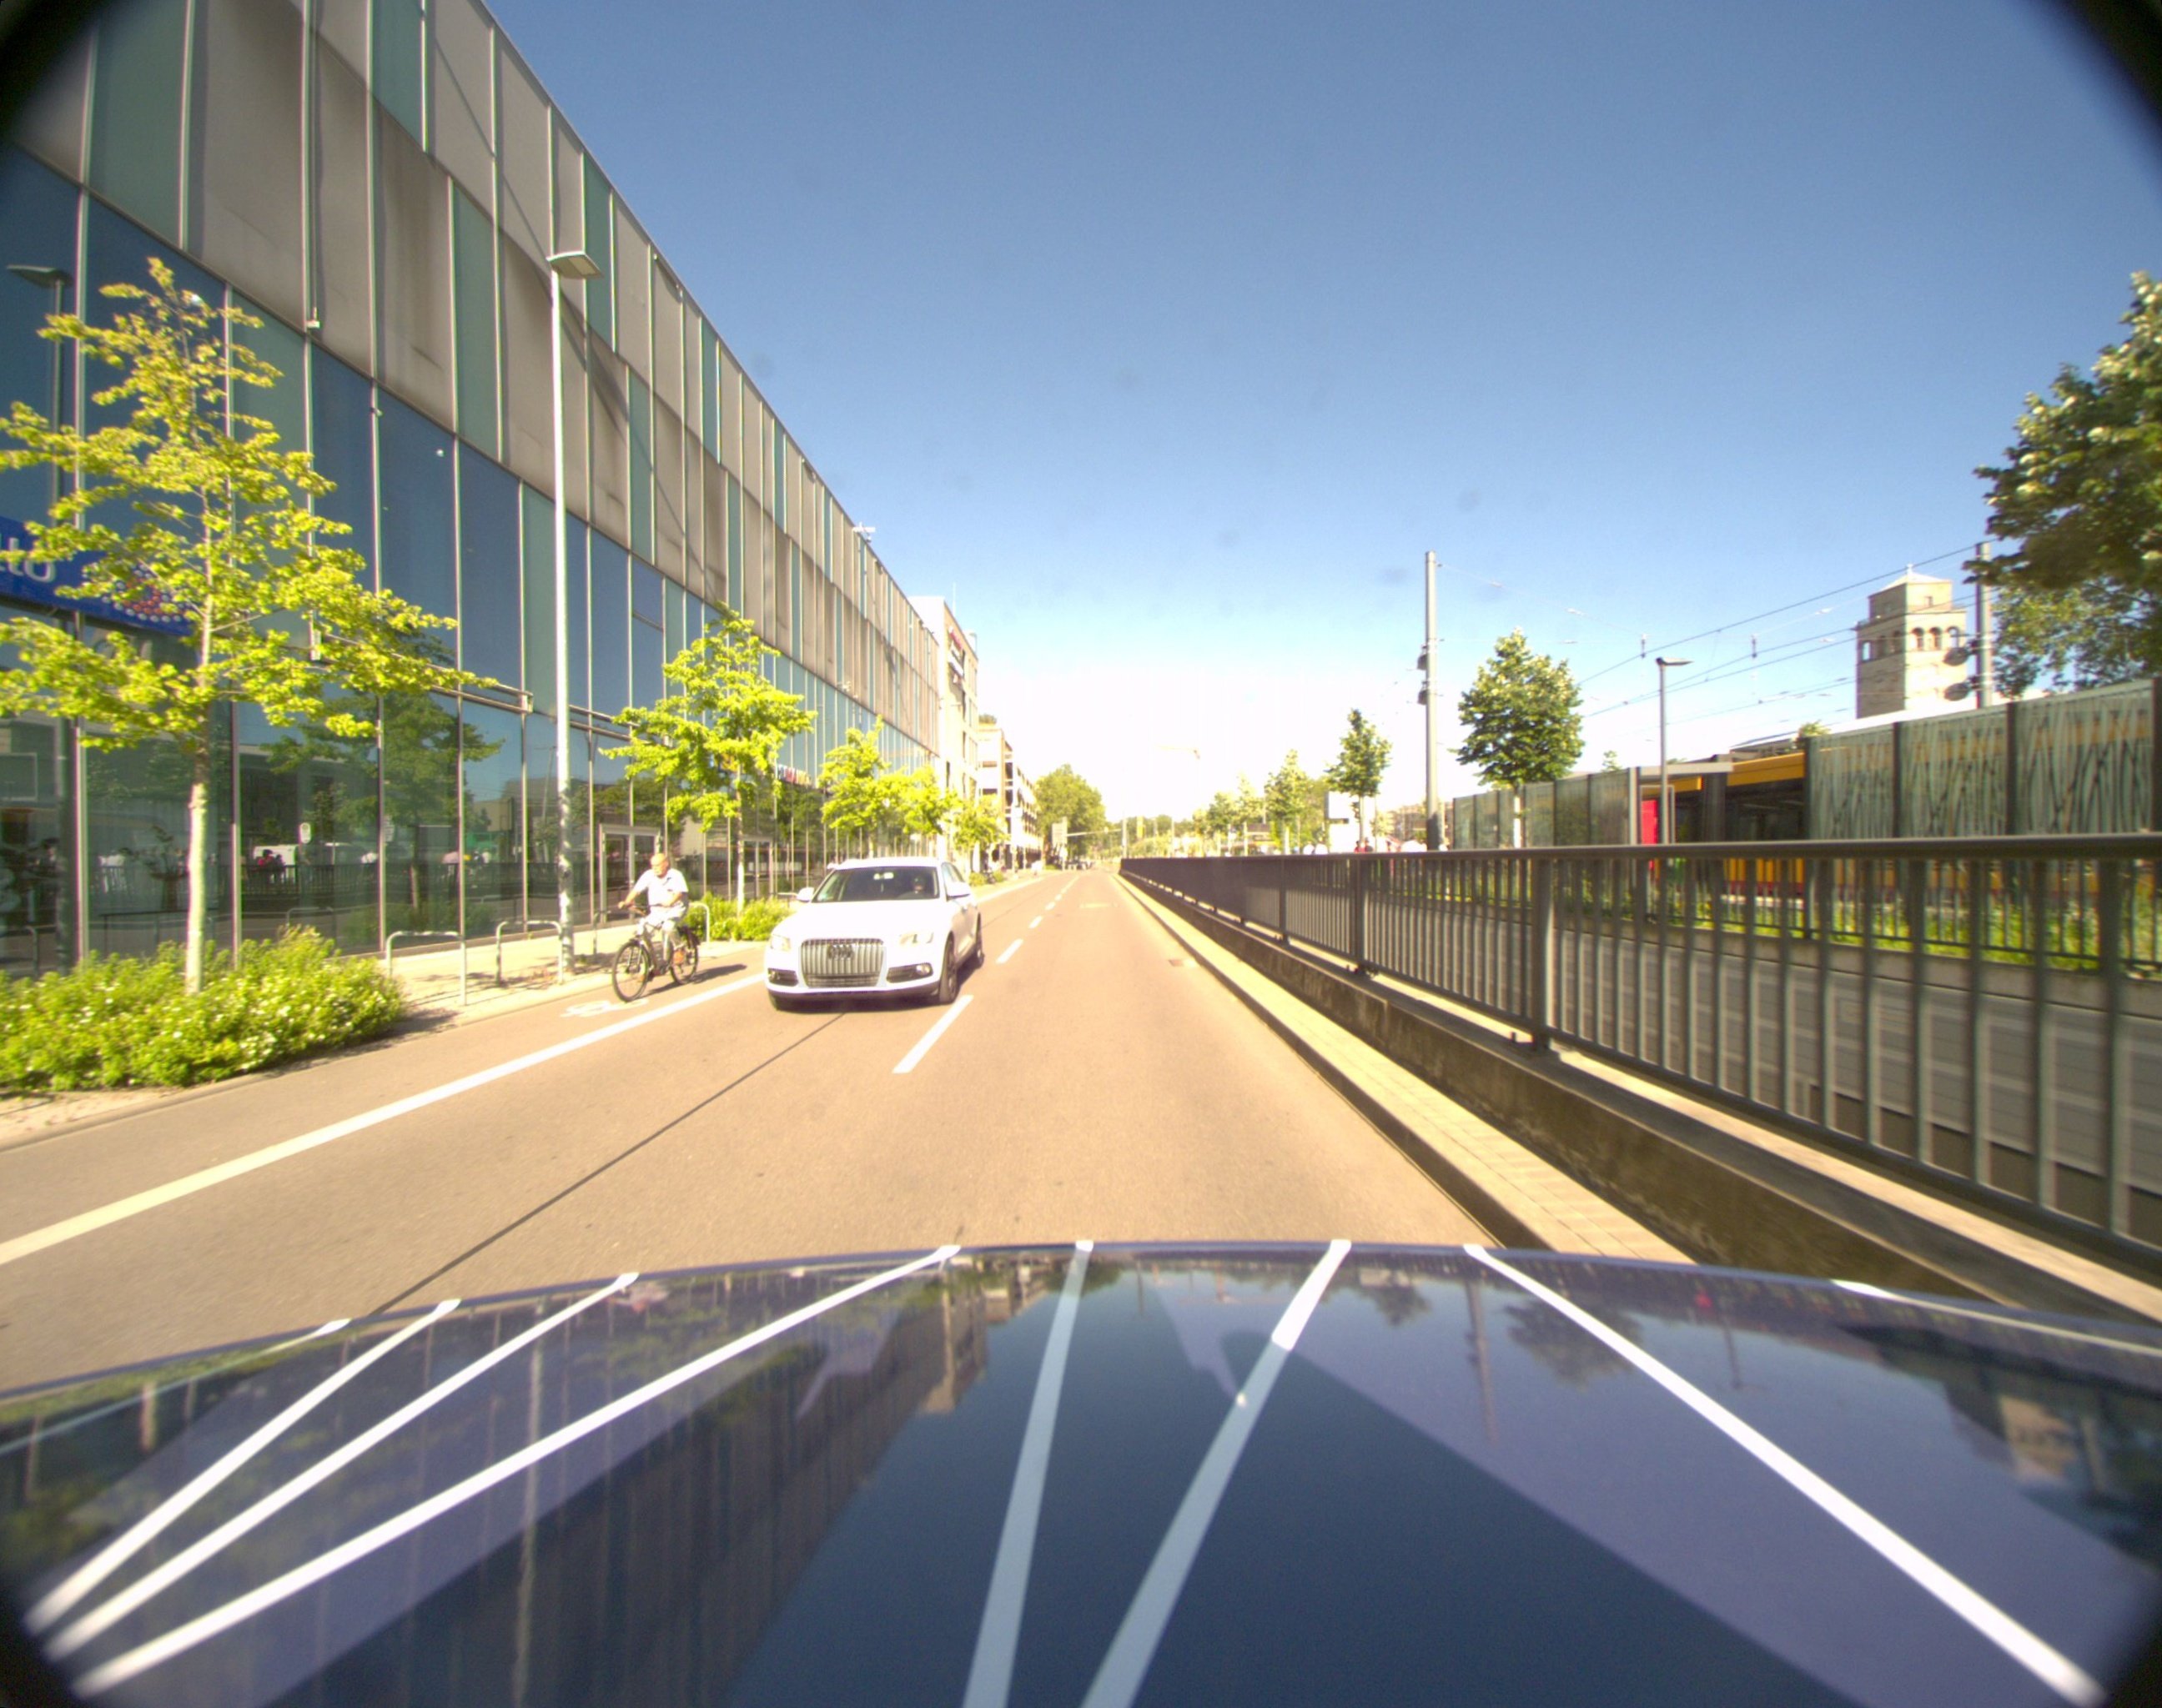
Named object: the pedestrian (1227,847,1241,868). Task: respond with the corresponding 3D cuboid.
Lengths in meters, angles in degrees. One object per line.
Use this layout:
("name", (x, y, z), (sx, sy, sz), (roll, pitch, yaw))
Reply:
("pedestrian", (13.164, 0.272, 65.225), (0.876, 1.764, 1.189), (-2, -1, -1))

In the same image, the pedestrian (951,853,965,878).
("pedestrian", (-9.016, 0.841, 55.672), (0.729, 1.791, 1.066), (1, 0, 1))

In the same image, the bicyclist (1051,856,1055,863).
("bicyclist", (-5.935, 1.113, 161.330), (0.883, 1.468, 0.883), (0, 0, 1))

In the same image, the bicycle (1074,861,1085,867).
("bicycle", (-0.272, 1.777, 138.161), (1.848, 0.954, 0.711), (1, 0, -3))

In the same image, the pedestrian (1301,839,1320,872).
("pedestrian", (12.893, 0.083, 42.683), (0.771, 1.800, 1.031), (0, 0, 1))

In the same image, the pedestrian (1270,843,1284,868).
("pedestrian", (14.078, 0.098, 54.585), (0.763, 1.764, 0.826), (-2, 0, -2))

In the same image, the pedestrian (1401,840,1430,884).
("pedestrian", (12.479, 0.307, 28.354), (0.743, 1.619, 0.861), (-1, 0, 2))

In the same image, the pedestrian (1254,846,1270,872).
("pedestrian", (12.588, 0.384, 52.732), (0.793, 1.764, 0.979), (-2, 0, -1))

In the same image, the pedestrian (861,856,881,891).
("pedestrian", (-10.108, 0.911, 36.536), (0.708, 1.648, 0.900), (1, 0, -3))

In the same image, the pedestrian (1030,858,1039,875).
("pedestrian", (-4.287, 1.161, 70.565), (0.725, 1.598, 0.750), (0, -1, 2))

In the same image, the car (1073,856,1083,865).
("car", (-0.602, 1.376, 158.766), (1.752, 1.810, 4.338), (1, 0, 2))

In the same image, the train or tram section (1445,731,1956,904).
("train or tram section", (15.716, -0.678, 22.411), (2.877, 3.260, 15.186), (-2, 0, 1))

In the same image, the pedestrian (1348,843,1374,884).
("pedestrian", (11.096, 0.365, 30.113), (0.743, 1.619, 0.861), (-1, 0, 2))

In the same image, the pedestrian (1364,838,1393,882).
("pedestrian", (11.115, 0.207, 28.415), (0.743, 1.619, 0.861), (-1, 0, 2))

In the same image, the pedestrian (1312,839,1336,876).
("pedestrian", (12.370, 0.177, 38.676), (0.889, 1.840, 1.007), (-1, 0, 1))

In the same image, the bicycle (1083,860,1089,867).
("bicycle", (0.826, 1.597, 124.676), (0.844, 1.123, 2.554), (-1, 0, 2))

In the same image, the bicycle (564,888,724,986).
("bicycle", (-5.365, 0.965, 9.549), (0.730, 0.978, 2.332), (0, 0, -2))

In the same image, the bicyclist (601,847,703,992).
("bicyclist", (-5.372, 0.785, 9.582), (0.727, 1.726, 0.997), (0, 0, -2))

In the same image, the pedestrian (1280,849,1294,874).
("pedestrian", (12.496, 0.438, 46.064), (0.649, 1.503, 0.588), (-2, 0, -2))

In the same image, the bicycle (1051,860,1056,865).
("bicycle", (-5.924, 1.834, 161.394), (0.883, 0.979, 2.051), (0, 0, 2))

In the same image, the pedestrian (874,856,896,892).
("pedestrian", (-9.289, 0.942, 36.088), (0.823, 1.648, 0.900), (-1, 0, -3))

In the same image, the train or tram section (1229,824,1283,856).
("train or tram section", (20.425, -1.534, 90.027), (2.855, 3.302, 15.966), (-4, 0, 1))

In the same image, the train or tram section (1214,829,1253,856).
("train or tram section", (20.769, -1.494, 104.535), (2.877, 3.290, 13.074), (-2, 0, 1))

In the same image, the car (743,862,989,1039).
("car", (-2.314, 0.940, 9.444), (1.824, 1.604, 4.412), (-1, 0, -1))

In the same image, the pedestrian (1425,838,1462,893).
("pedestrian", (10.958, 0.347, 22.987), (0.743, 1.619, 0.861), (-1, 0, 2))

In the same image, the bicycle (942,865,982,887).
("bicycle", (-6.939, 1.276, 44.282), (2.089, 1.198, 0.951), (1, 1, 8))

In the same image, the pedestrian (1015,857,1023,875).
("pedestrian", (-5.911, 1.146, 72.269), (0.658, 1.692, 0.698), (2, 0, 0))

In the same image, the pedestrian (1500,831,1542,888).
("pedestrian", (12.743, 0.154, 22.038), (0.743, 1.619, 0.861), (-1, 0, 2))

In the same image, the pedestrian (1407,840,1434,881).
("pedestrian", (13.564, 0.256, 30.375), (0.743, 1.619, 0.861), (-1, 0, 2))

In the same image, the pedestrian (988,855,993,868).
("pedestrian", (-11.041, 0.945, 92.637), (0.662, 1.603, 0.526), (1, 0, -7))

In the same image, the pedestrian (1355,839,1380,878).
("pedestrian", (12.176, 0.178, 32.322), (0.743, 1.619, 0.861), (-1, 0, 2))

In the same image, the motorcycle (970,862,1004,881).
("motorcycle", (-6.584, 1.226, 53.131), (2.193, 1.316, 0.903), (0, 0, 5))

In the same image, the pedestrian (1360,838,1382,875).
("pedestrian", (13.542, 0.113, 35.513), (0.743, 1.684, 0.861), (-1, 0, 2))

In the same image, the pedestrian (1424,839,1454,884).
("pedestrian", (13.328, 0.274, 28.320), (0.743, 1.619, 0.861), (-1, 0, 2))

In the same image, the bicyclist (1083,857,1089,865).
("bicyclist", (0.829, 1.141, 124.678), (0.830, 1.380, 0.904), (-1, 0, 2))

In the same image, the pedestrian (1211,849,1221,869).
("pedestrian", (12.079, 0.422, 68.041), (0.705, 1.764, 0.959), (-2, 0, -1))

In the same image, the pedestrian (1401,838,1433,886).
("pedestrian", (11.694, 0.269, 26.426), (0.743, 1.619, 0.861), (-1, 0, 2))

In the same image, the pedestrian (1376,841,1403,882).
("pedestrian", (12.390, 0.302, 30.533), (0.743, 1.619, 0.947), (-1, 0, 2))

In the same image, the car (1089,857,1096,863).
("car", (3.473, 1.812, 233.132), (1.998, 1.597, 3.896), (-1, 0, 0))

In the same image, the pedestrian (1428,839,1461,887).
("pedestrian", (12.615, 0.317, 26.364), (0.743, 1.619, 0.861), (-1, 0, 2))

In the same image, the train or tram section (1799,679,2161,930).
("train or tram section", (15.332, -0.719, 3.807), (2.877, 3.260, 22.145), (-2, 0, 1))
